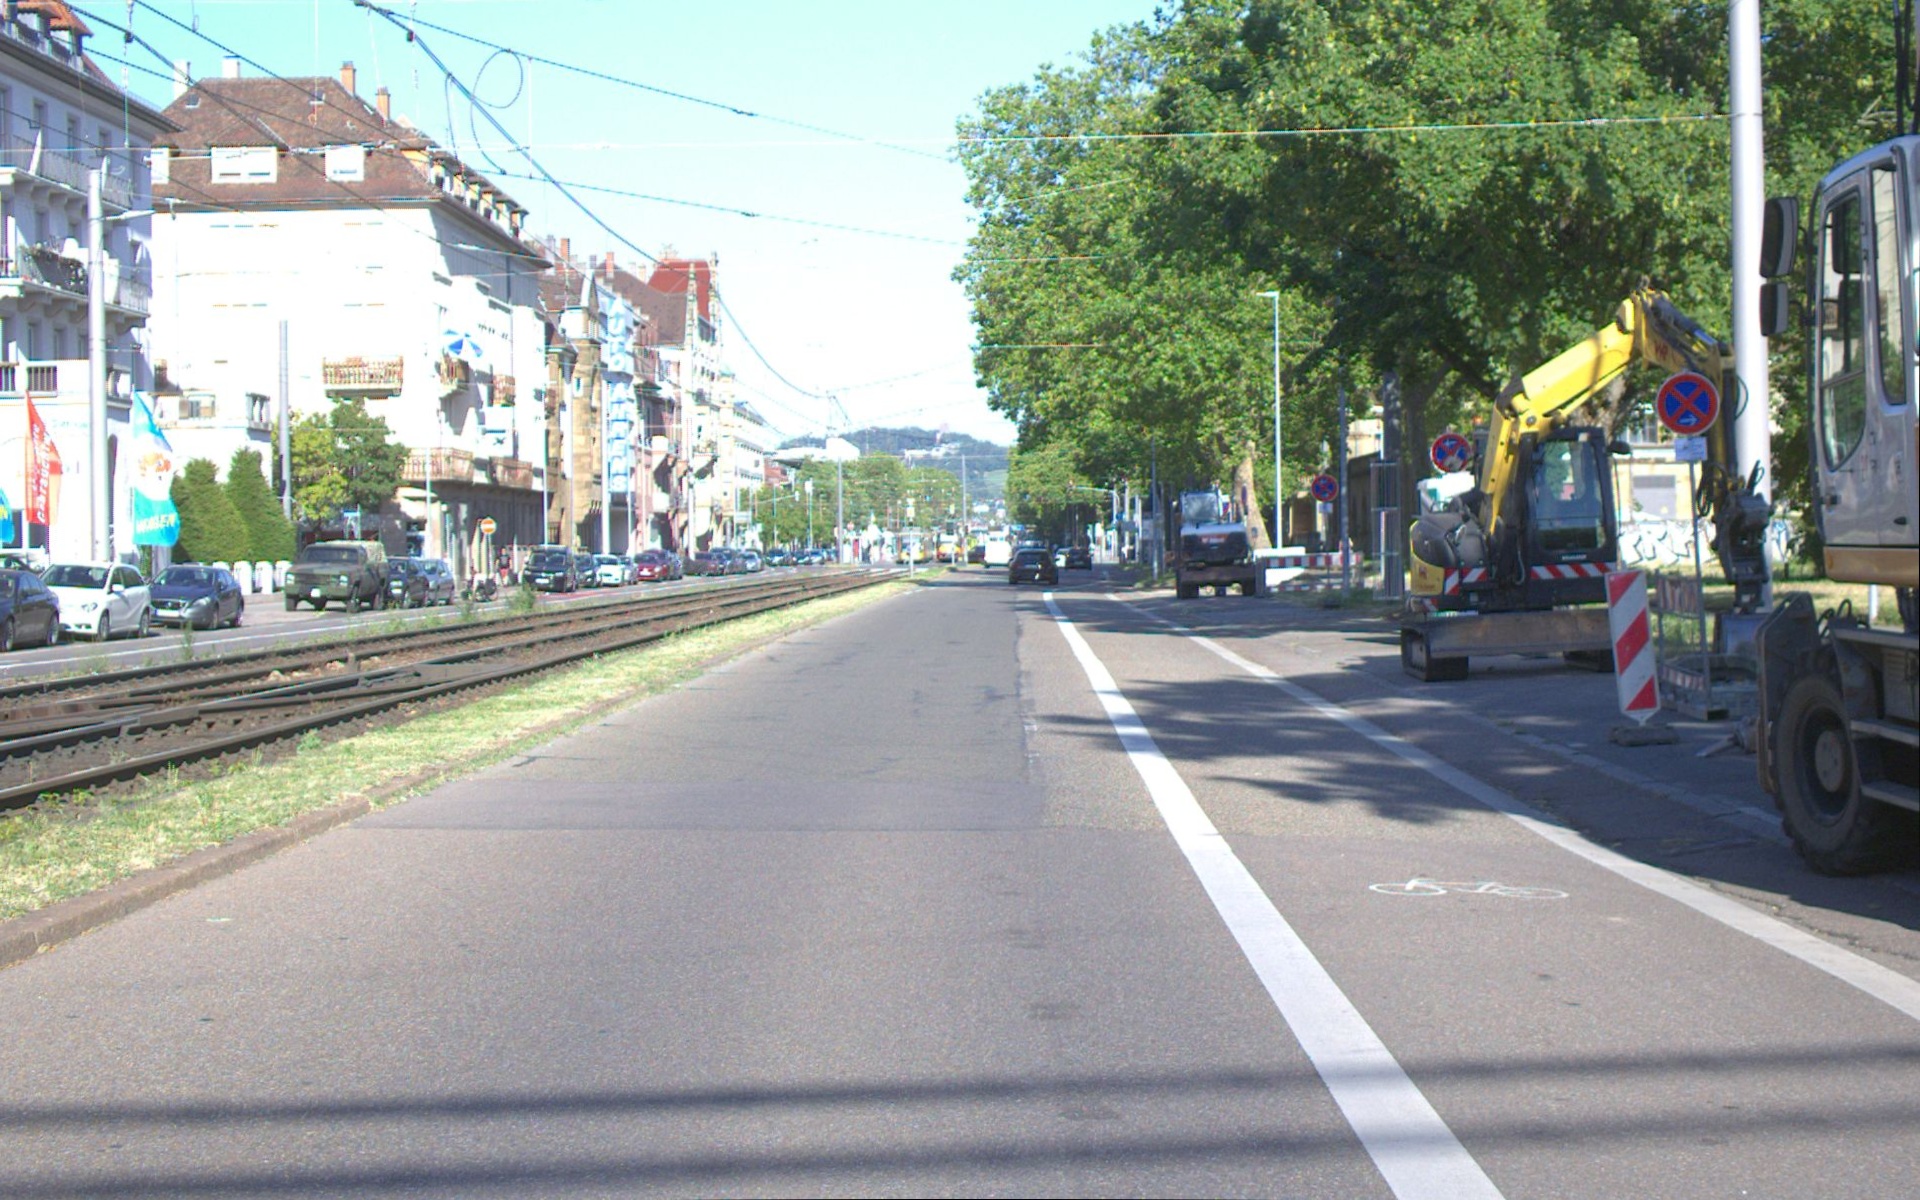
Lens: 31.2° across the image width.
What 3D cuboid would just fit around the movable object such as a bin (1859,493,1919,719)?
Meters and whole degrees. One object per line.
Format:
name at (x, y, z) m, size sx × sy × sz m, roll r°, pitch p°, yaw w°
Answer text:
movable object such as a bin at (7.757, -0.025, 26.285) m, size 1.318 × 1.662 × 1.302 m, roll -7°, pitch 0°, yaw 5°

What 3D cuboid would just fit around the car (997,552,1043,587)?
car at (2.405, -1.236, 138.618) m, size 1.833 × 1.386 × 4.159 m, roll 0°, pitch 1°, yaw 0°

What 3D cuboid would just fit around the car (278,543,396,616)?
car at (-17.789, -0.599, 98.383) m, size 2.077 × 2.003 × 5.591 m, roll 1°, pitch 1°, yaw 3°

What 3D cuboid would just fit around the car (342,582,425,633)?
car at (-17.520, 0.231, 104.600) m, size 1.635 × 1.502 × 4.158 m, roll 0°, pitch 0°, yaw 3°

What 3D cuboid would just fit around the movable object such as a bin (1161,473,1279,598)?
movable object such as a bin at (7.112, -1.783, 94.765) m, size 2.744 × 3.135 × 7.219 m, roll -4°, pitch 1°, yaw 2°

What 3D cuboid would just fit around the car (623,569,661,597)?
car at (-16.623, -0.883, 179.759) m, size 1.833 × 1.386 × 4.036 m, roll 2°, pitch 0°, yaw -4°

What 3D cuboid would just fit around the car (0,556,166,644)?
car at (-17.804, -0.028, 69.980) m, size 1.921 × 1.689 × 4.842 m, roll 1°, pitch 1°, yaw 3°

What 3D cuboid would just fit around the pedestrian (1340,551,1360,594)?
pedestrian at (15.904, -1.126, 140.094) m, size 0.608 × 1.676 × 0.636 m, roll -5°, pitch 1°, yaw -1°

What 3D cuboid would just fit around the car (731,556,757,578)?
car at (-15.464, -2.359, 246.505) m, size 1.794 × 1.505 × 4.001 m, roll 2°, pitch 1°, yaw -3°

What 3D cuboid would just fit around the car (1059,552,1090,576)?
car at (7.084, -2.223, 212.982) m, size 1.794 × 1.505 × 4.000 m, roll 0°, pitch 1°, yaw 0°

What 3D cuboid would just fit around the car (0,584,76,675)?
car at (-18.011, 0.512, 63.387) m, size 1.921 × 1.555 × 4.842 m, roll 1°, pitch 1°, yaw 3°

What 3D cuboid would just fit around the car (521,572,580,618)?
car at (-16.838, -0.229, 141.418) m, size 1.862 × 1.780 × 4.402 m, roll 1°, pitch 1°, yaw 0°

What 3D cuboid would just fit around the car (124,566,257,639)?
car at (-17.639, 0.022, 79.050) m, size 1.920 × 1.456 × 4.842 m, roll 4°, pitch 1°, yaw -1°

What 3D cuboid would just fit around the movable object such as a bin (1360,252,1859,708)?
movable object such as a bin at (6.393, -1.148, 35.287) m, size 3.338 × 3.963 × 7.599 m, roll -4°, pitch 1°, yaw -1°

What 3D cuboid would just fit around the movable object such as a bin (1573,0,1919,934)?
movable object such as a bin at (5.073, -1.091, 15.388) m, size 2.914 × 4.595 × 7.599 m, roll -4°, pitch 1°, yaw -1°

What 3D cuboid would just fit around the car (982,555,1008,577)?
car at (2.503, -2.402, 243.634) m, size 1.794 × 1.505 × 4.000 m, roll 1°, pitch 0°, yaw 0°
